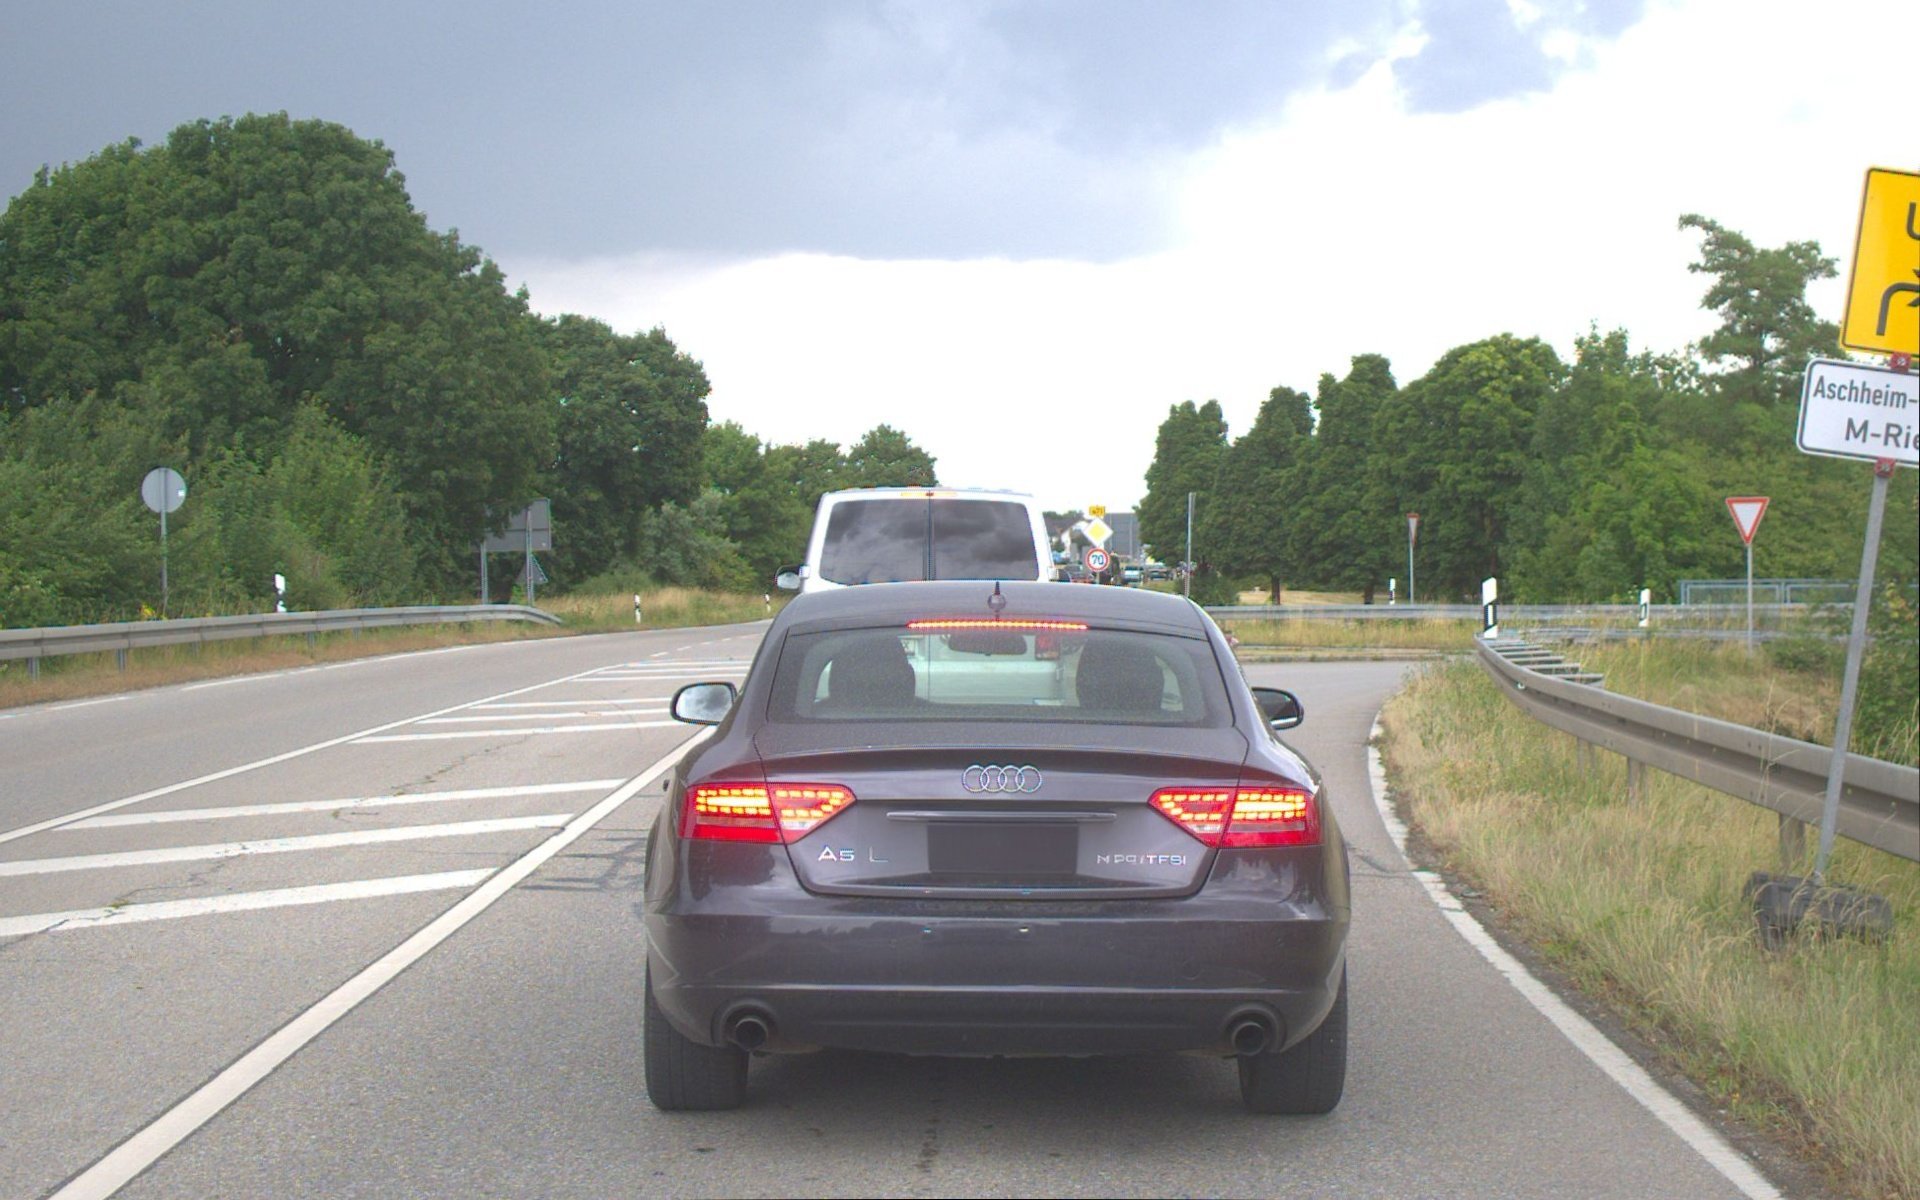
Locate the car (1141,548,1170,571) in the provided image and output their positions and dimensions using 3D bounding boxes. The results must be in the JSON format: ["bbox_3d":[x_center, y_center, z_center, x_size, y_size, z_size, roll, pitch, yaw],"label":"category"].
[{"bbox_3d":[14.348,-2.982,252.354,1.993,1.686,4.000,1,1,2],"label":"car"}]

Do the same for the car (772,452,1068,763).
[{"bbox_3d":[-0.287,0.013,24.550,1.910,2.007,4.000,1,1,-1],"label":"car"}]

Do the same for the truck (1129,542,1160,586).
[{"bbox_3d":[12.570,-2.475,234.184,1.994,2.908,5.793,1,1,3],"label":"truck"}]

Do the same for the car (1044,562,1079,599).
[{"bbox_3d":[5.792,-1.110,196.038,1.993,2.007,4.000,1,1,2],"label":"car"}]

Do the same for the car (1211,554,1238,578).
[{"bbox_3d":[18.857,-2.436,245.045,1.876,1.686,3.999,1,1,5],"label":"car"}]

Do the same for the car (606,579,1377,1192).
[{"bbox_3d":[0.045,0.655,9.651,1.779,1.394,3.337,0,1,-1],"label":"car"}]
